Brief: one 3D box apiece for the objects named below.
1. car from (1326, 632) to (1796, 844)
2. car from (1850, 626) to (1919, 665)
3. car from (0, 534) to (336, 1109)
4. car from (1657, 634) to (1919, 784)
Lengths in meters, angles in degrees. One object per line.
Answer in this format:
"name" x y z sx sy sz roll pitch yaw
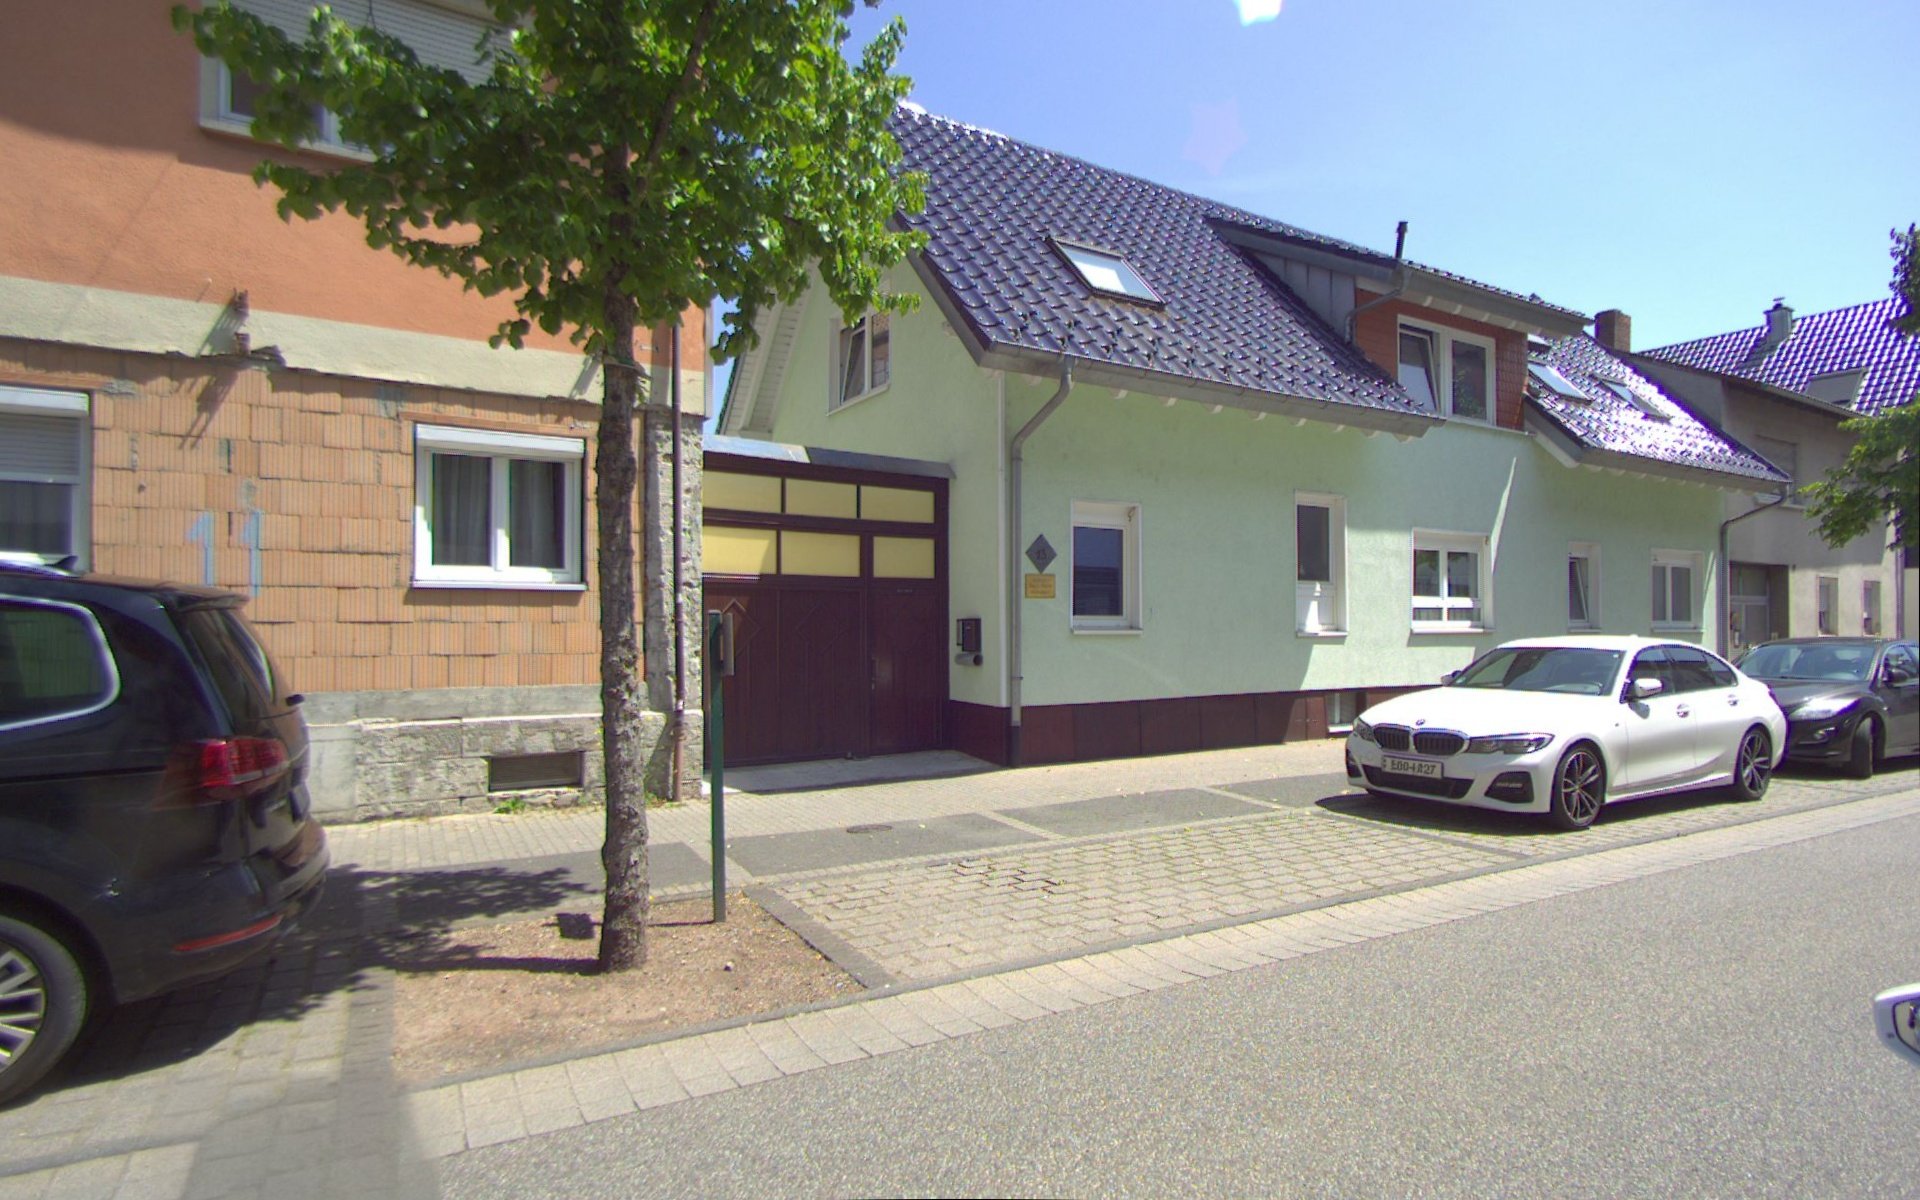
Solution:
"car" 5.424 1.026 8.908 4.408 1.456 1.711 1 -1 -31
"car" 40.269 1.899 42.475 3.874 1.566 1.509 -1 0 44
"car" -4.599 0.672 3.092 4.467 1.749 1.767 1 -2 -31
"car" 10.203 1.132 11.722 4.484 1.456 1.653 1 -2 -30
